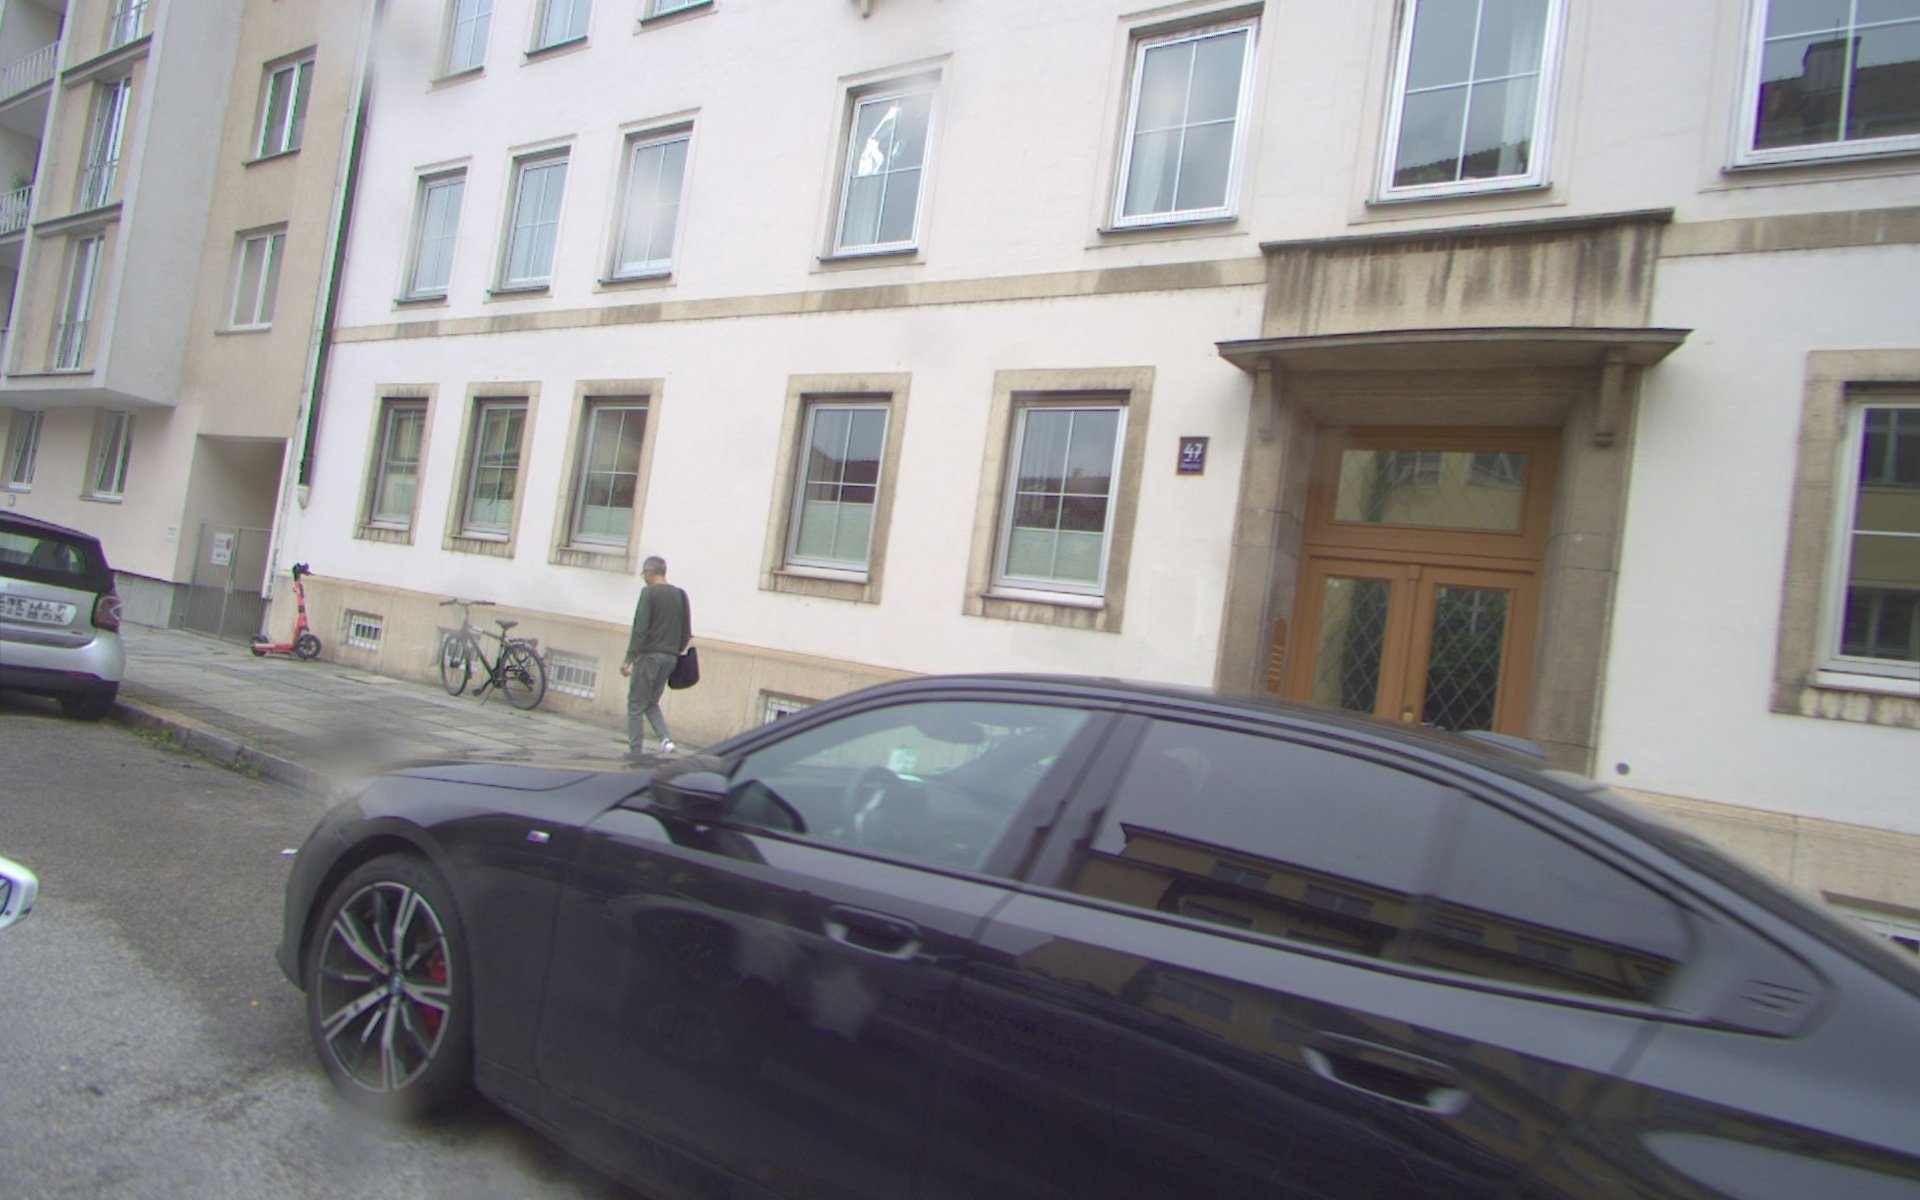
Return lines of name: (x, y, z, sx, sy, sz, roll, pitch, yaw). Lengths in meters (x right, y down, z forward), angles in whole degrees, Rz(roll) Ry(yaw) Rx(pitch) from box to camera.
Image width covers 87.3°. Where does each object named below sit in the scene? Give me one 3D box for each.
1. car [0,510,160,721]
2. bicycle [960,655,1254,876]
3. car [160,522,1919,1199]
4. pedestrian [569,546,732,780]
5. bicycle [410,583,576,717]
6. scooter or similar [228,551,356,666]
car: (-8.343, -0.031, 8.290, 2.833, 1.510, 1.656, 7, -6, 31)
bicycle: (1.069, 1.173, 7.475, 1.953, 1.236, 0.514, 7, -1, 24)
car: (0.155, 0.882, 2.835, 5.229, 1.499, 1.810, 7, -6, 30)
pedestrian: (-2.530, 0.503, 8.246, 0.890, 1.783, 0.724, 4, -2, 31)
bicycle: (-5.232, 0.530, 11.223, 2.068, 1.233, 0.530, 6, 0, 32)
scooter or similar: (-8.923, 0.115, 13.436, 1.560, 1.373, 0.441, 5, -3, 19)
